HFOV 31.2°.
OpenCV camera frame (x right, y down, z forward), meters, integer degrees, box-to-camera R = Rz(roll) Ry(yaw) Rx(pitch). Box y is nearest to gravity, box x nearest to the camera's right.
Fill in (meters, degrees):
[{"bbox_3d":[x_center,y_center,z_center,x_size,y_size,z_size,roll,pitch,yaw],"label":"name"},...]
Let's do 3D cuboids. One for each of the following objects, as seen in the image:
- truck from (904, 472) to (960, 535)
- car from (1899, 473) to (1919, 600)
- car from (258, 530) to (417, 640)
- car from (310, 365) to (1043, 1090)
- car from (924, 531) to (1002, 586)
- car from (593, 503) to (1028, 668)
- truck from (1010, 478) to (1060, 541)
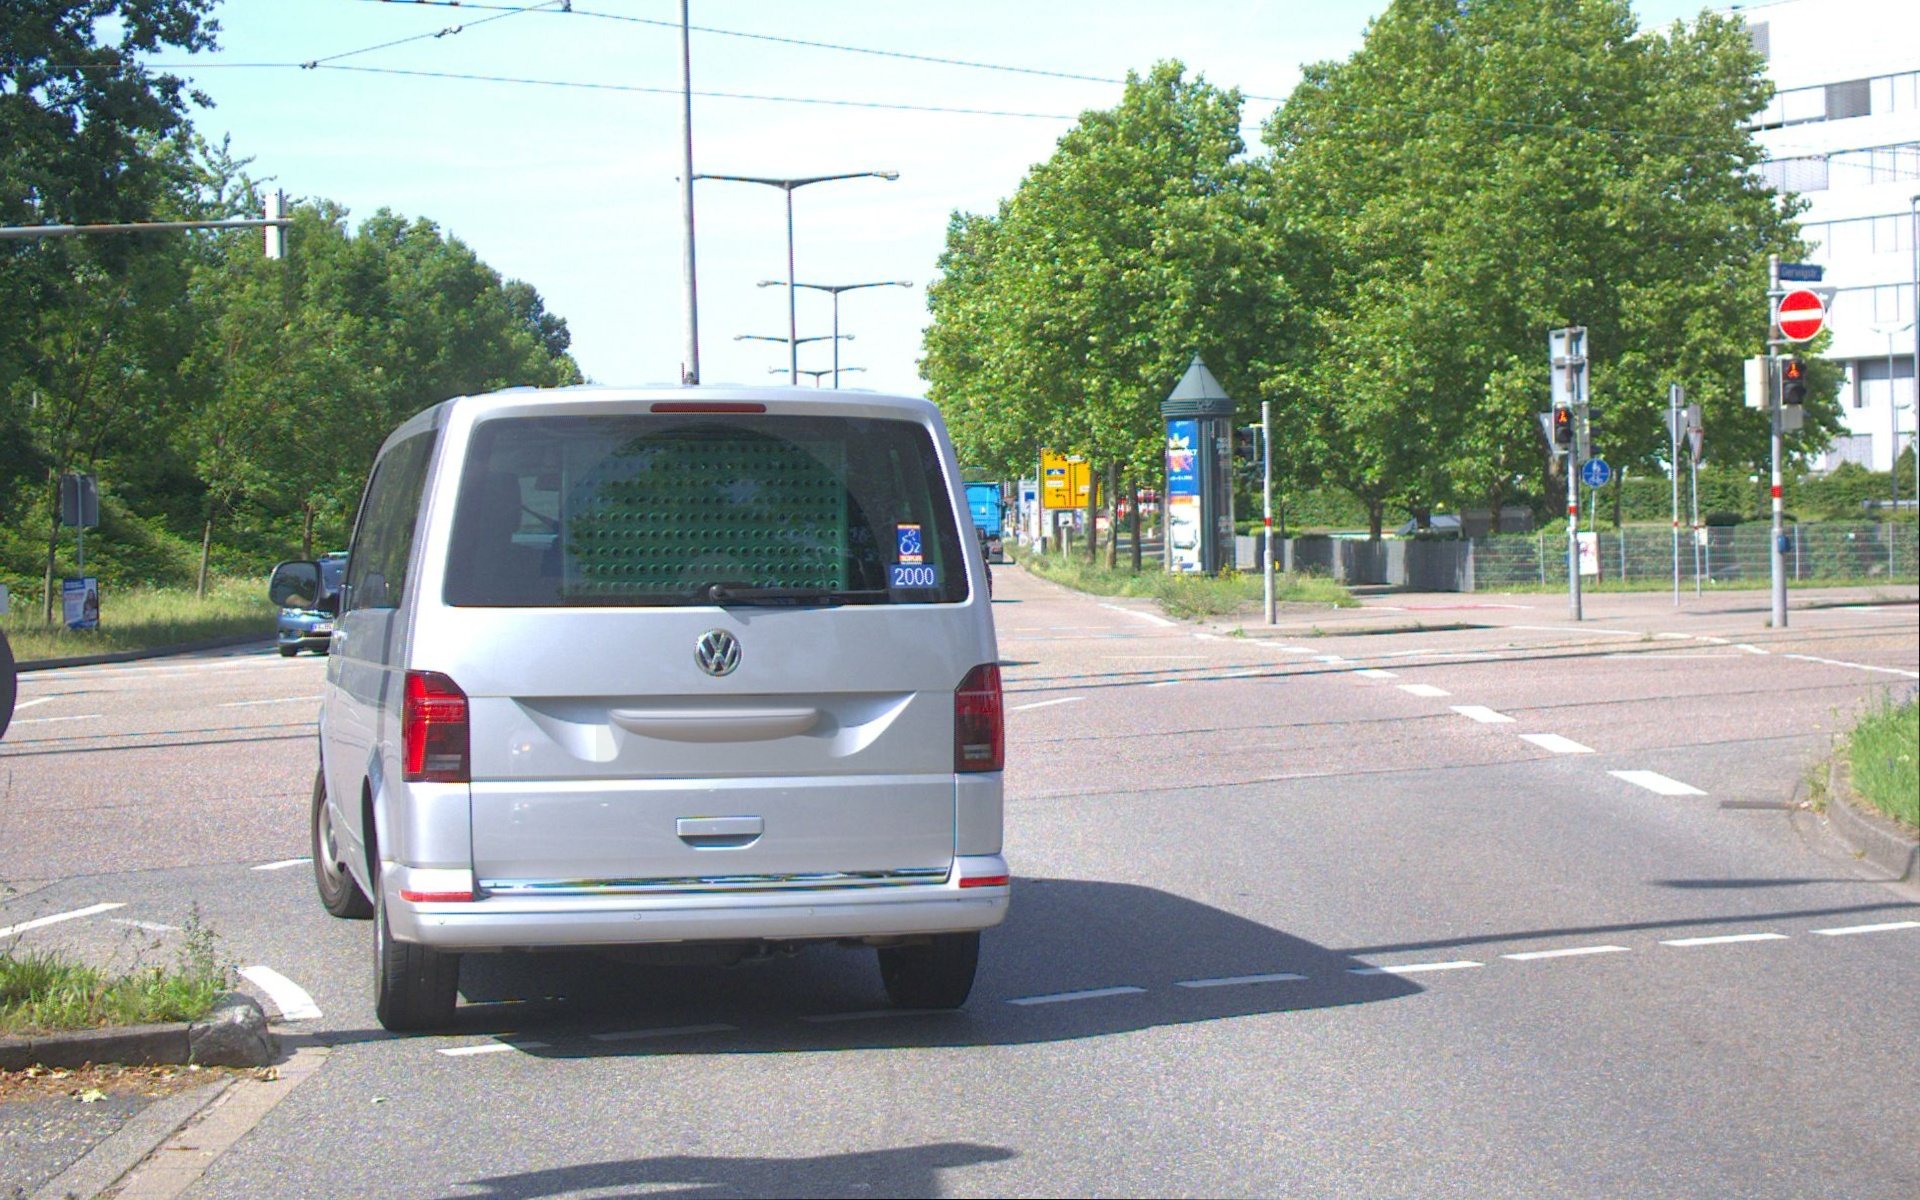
[{"bbox_3d":[-1.637,-5.706,204.530,2.841,3.565,8.719,-2,1,2],"label":"truck"},{"bbox_3d":[14.996,-0.925,46.577,4.613,1.683,1.915,-3,2,-37],"label":"car"},{"bbox_3d":[-9.473,-0.261,52.593,1.849,1.556,4.001,-2,1,-3],"label":"car"},{"bbox_3d":[-1.230,0.292,12.005,1.941,1.965,5.023,-1,1,-12],"label":"car"},{"bbox_3d":[0.061,-1.009,82.355,1.643,1.232,3.253,-2,1,-3],"label":"car"},{"bbox_3d":[-1.597,-0.145,35.901,4.373,1.600,1.810,-1,2,38],"label":"car"},{"bbox_3d":[5.394,-6.466,245.832,3.191,4.340,13.146,-2,1,2],"label":"truck"}]
